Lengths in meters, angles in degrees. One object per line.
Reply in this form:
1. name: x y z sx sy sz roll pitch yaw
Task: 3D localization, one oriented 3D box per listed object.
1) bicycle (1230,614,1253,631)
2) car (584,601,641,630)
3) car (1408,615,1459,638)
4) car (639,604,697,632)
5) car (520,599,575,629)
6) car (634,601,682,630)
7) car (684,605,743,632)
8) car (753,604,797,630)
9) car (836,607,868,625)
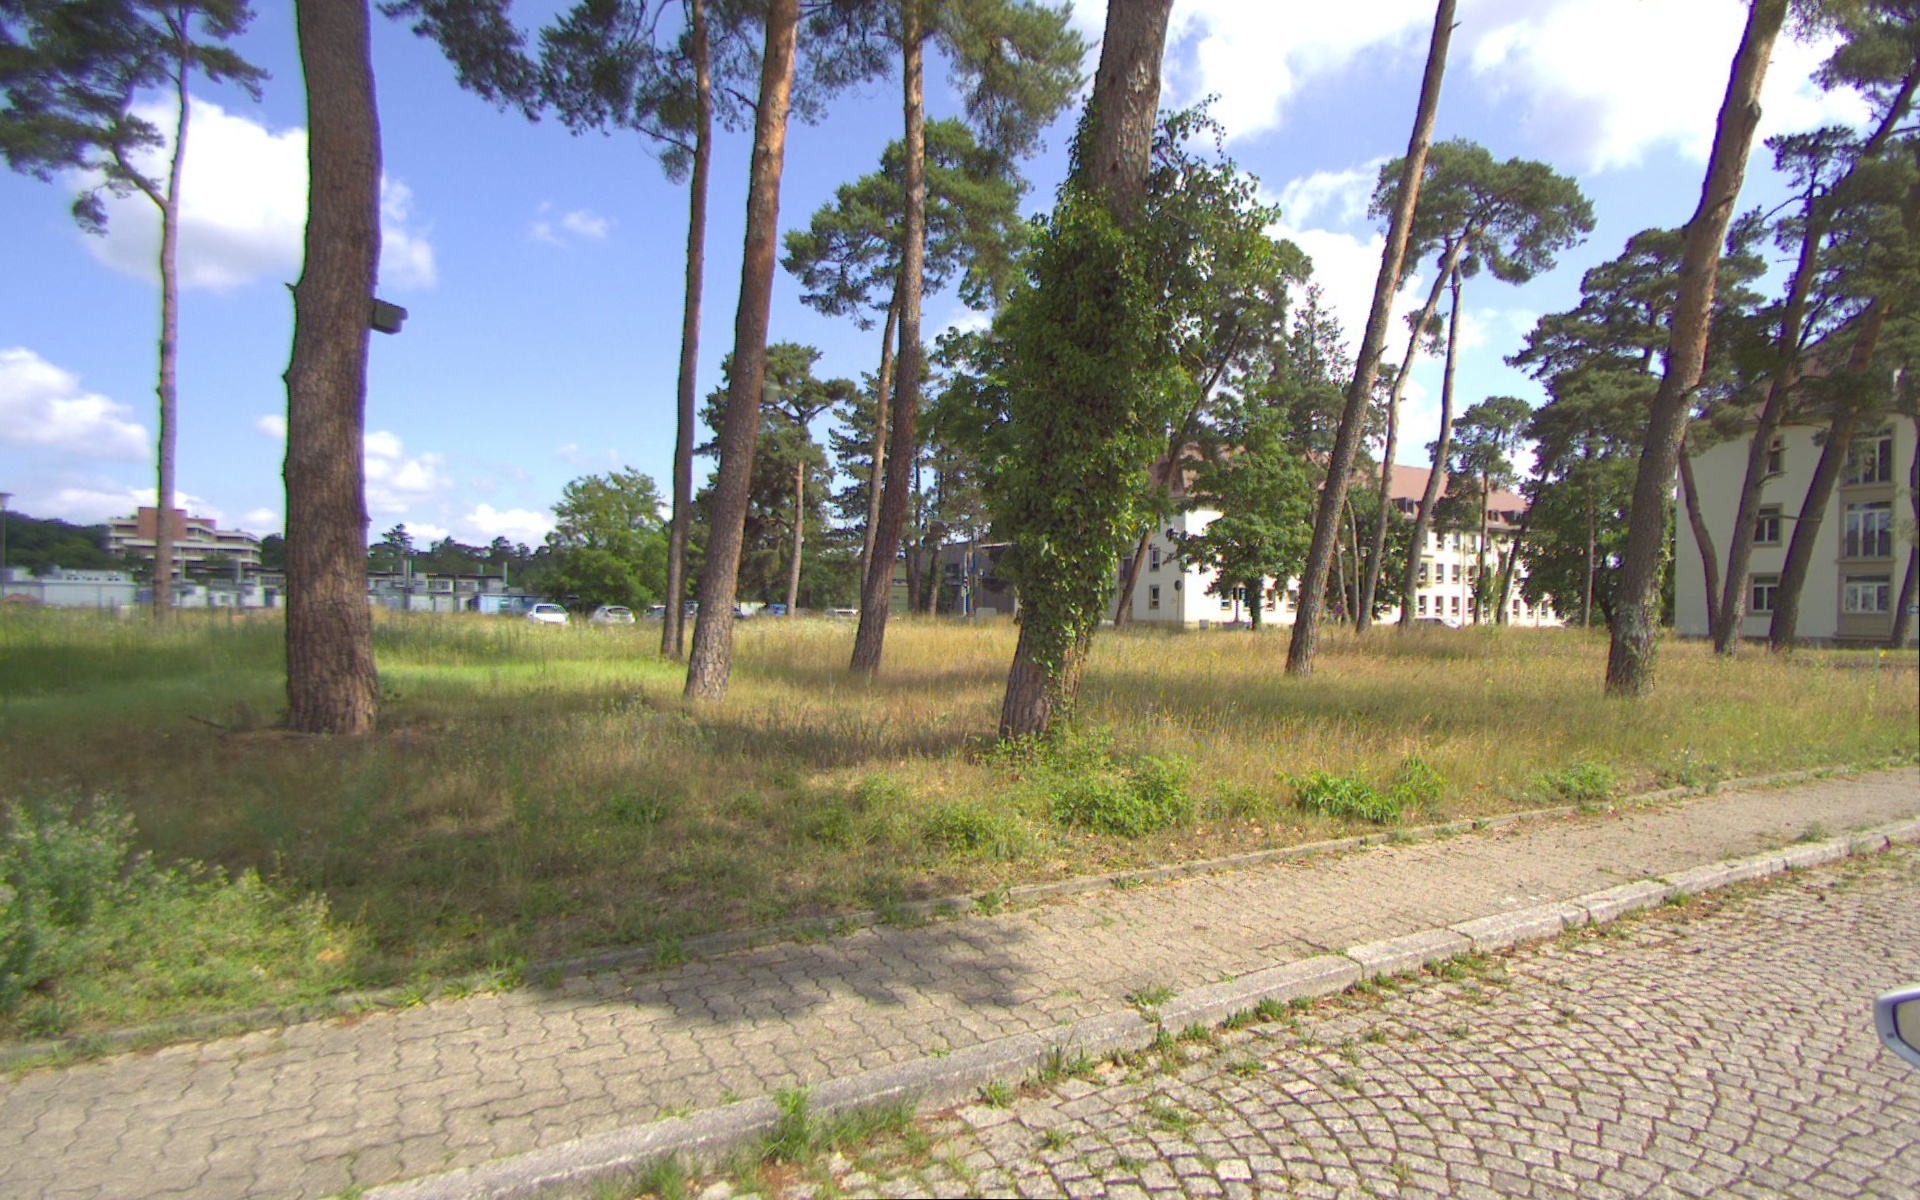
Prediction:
1. bicycle: 19.462 1.565 69.393 1.562 1.115 0.489 1 -1 -19
2. car: -17.431 0.777 50.321 1.879 1.356 4.045 2 -1 -31
3. car: 42.998 2.416 91.281 1.692 2.018 4.041 1 -1 -29
4. car: -14.884 0.919 51.102 1.879 1.337 4.045 2 -1 -31
5. car: -19.948 0.697 48.501 1.879 1.366 4.037 2 -1 -31
6. car: -18.583 0.939 61.662 1.879 1.724 4.045 2 -1 -31
7. car: -12.906 0.966 52.370 1.879 1.326 4.045 2 -1 -31
8. car: -13.615 1.258 73.661 1.879 1.803 4.045 2 -1 -31
9. car: -13.383 1.988 124.295 3.637 2.116 1.722 1 -1 -21
